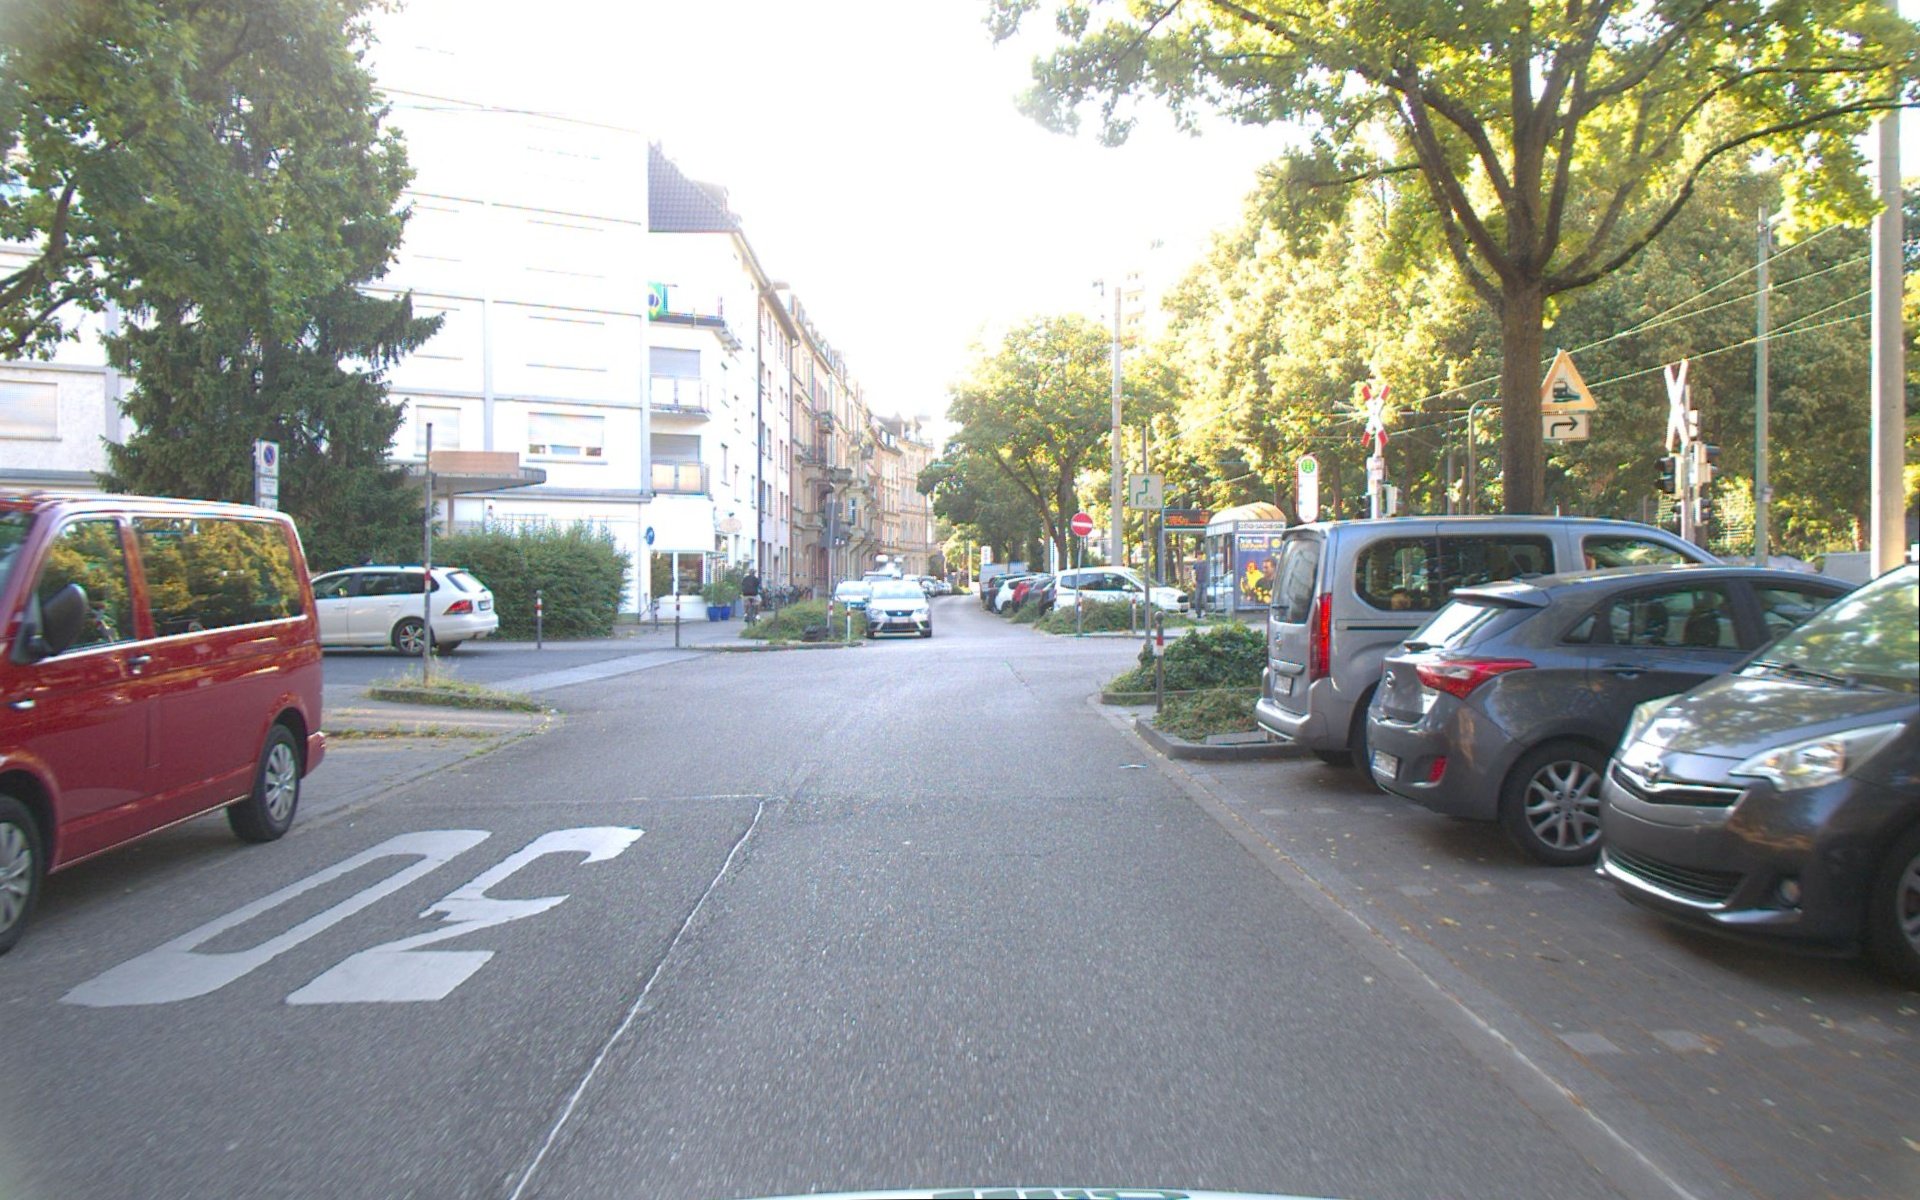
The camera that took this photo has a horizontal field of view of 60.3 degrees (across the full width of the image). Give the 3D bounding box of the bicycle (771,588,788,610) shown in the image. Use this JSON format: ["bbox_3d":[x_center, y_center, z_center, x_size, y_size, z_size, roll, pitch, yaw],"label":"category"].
[{"bbox_3d":[-8.756,-0.056,80.284,0.614,1.020,2.175,-1,1,-1],"label":"bicycle"}]

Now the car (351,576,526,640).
[{"bbox_3d":[-13.471,0.178,42.752,3.948,1.559,1.979,-1,1,-32],"label":"car"}]

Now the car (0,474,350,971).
[{"bbox_3d":[-4.699,0.443,8.080,1.740,1.967,4.771,1,1,-2],"label":"car"}]

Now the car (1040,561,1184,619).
[{"bbox_3d":[4.796,-0.301,52.077,4.109,1.461,1.700,-5,0,24],"label":"car"}]

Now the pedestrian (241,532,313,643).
[{"bbox_3d":[-12.777,-0.236,30.962,0.962,2.049,0.863,-1,0,-1],"label":"pedestrian"}]

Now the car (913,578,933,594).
[{"bbox_3d":[-3.576,-1.335,160.502,1.675,1.471,4.001,-2,1,2],"label":"car"}]

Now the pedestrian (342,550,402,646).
[{"bbox_3d":[-10.952,-0.043,30.838,0.811,1.766,0.870,1,0,-2],"label":"pedestrian"}]

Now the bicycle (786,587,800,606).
[{"bbox_3d":[-9.333,-0.221,92.530,0.614,1.020,2.175,-1,1,-1],"label":"bicycle"}]

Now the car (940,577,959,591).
[{"bbox_3d":[-1.202,-1.841,189.315,1.674,1.471,4.004,-2,1,8],"label":"car"}]

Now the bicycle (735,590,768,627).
[{"bbox_3d":[-6.257,0.233,49.710,0.697,1.069,2.347,-1,1,0],"label":"bicycle"}]

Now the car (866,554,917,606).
[{"bbox_3d":[-4.023,-1.215,98.013,2.499,2.937,5.483,-2,1,2],"label":"car"}]

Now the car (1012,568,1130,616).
[{"bbox_3d":[4.254,-0.315,63.365,4.143,1.484,1.607,-5,0,24],"label":"car"}]

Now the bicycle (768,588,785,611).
[{"bbox_3d":[-8.501,-0.016,76.751,0.614,1.020,2.175,-1,1,-1],"label":"bicycle"}]

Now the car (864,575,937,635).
[{"bbox_3d":[-1.619,0.097,43.811,1.677,1.471,3.996,-2,1,-5],"label":"car"}]

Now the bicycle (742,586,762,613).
[{"bbox_3d":[-8.325,-0.036,66.190,0.520,1.020,2.176,-1,1,0],"label":"bicycle"}]

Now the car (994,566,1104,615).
[{"bbox_3d":[3.676,-0.396,68.791,4.156,1.679,1.852,-4,0,36],"label":"car"}]

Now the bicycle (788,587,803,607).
[{"bbox_3d":[-8.655,-0.142,87.164,0.614,1.020,2.175,-1,1,-1],"label":"bicycle"}]

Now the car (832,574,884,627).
[{"bbox_3d":[-3.475,-0.007,56.620,1.676,1.702,3.998,-2,1,-3],"label":"car"}]

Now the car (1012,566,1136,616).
[{"bbox_3d":[4.158,-0.337,60.488,4.143,1.484,1.607,-5,0,24],"label":"car"}]

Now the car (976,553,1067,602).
[{"bbox_3d":[3.887,-1.412,104.724,5.151,2.616,2.271,-4,0,28],"label":"car"}]

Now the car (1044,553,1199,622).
[{"bbox_3d":[4.714,-0.362,48.389,4.149,1.681,1.605,-4,0,31],"label":"car"}]

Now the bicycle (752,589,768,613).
[{"bbox_3d":[-8.794,0.023,72.774,0.520,1.020,2.175,-1,1,-1],"label":"bicycle"}]

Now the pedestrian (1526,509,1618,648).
[{"bbox_3d":[8.922,-0.315,24.148,0.884,1.952,1.150,-1,1,0],"label":"pedestrian"}]

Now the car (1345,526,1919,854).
[{"bbox_3d":[4.582,0.440,9.194,4.444,1.600,1.950,-1,0,1],"label":"car"}]

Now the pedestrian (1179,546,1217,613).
[{"bbox_3d":[7.001,-0.588,48.556,0.832,1.944,0.836,-1,0,30],"label":"pedestrian"}]

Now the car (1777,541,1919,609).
[{"bbox_3d":[28.246,-0.797,52.431,1.908,2.038,4.650,-1,1,-9],"label":"car"}]

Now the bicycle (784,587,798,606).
[{"bbox_3d":[-9.203,-0.191,90.139,0.614,1.020,2.175,-1,1,-1],"label":"bicycle"}]

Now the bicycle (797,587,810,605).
[{"bbox_3d":[-9.060,-0.253,95.747,0.614,1.020,2.175,-1,1,-1],"label":"bicycle"}]

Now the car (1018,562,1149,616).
[{"bbox_3d":[4.280,-0.378,57.359,4.143,1.534,1.607,-5,0,24],"label":"car"}]

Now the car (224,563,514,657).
[{"bbox_3d":[-9.996,0.140,28.196,4.193,1.475,1.924,-1,2,2],"label":"car"}]

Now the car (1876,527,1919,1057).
[{"bbox_3d":[5.089,0.547,4.181,4.444,1.600,1.950,-1,0,1],"label":"car"}]

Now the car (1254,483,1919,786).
[{"bbox_3d":[4.504,0.234,11.907,4.444,1.948,1.950,-1,0,1],"label":"car"}]

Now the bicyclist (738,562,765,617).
[{"bbox_3d":[-6.267,-0.321,49.678,0.697,1.645,0.723,-1,0,0],"label":"bicyclist"}]

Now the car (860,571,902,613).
[{"bbox_3d":[-3.925,-0.430,82.619,1.675,1.966,4.001,-2,1,2],"label":"car"}]

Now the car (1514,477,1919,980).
[{"bbox_3d":[4.819,0.415,6.888,4.350,1.721,1.947,-1,0,-7],"label":"car"}]
